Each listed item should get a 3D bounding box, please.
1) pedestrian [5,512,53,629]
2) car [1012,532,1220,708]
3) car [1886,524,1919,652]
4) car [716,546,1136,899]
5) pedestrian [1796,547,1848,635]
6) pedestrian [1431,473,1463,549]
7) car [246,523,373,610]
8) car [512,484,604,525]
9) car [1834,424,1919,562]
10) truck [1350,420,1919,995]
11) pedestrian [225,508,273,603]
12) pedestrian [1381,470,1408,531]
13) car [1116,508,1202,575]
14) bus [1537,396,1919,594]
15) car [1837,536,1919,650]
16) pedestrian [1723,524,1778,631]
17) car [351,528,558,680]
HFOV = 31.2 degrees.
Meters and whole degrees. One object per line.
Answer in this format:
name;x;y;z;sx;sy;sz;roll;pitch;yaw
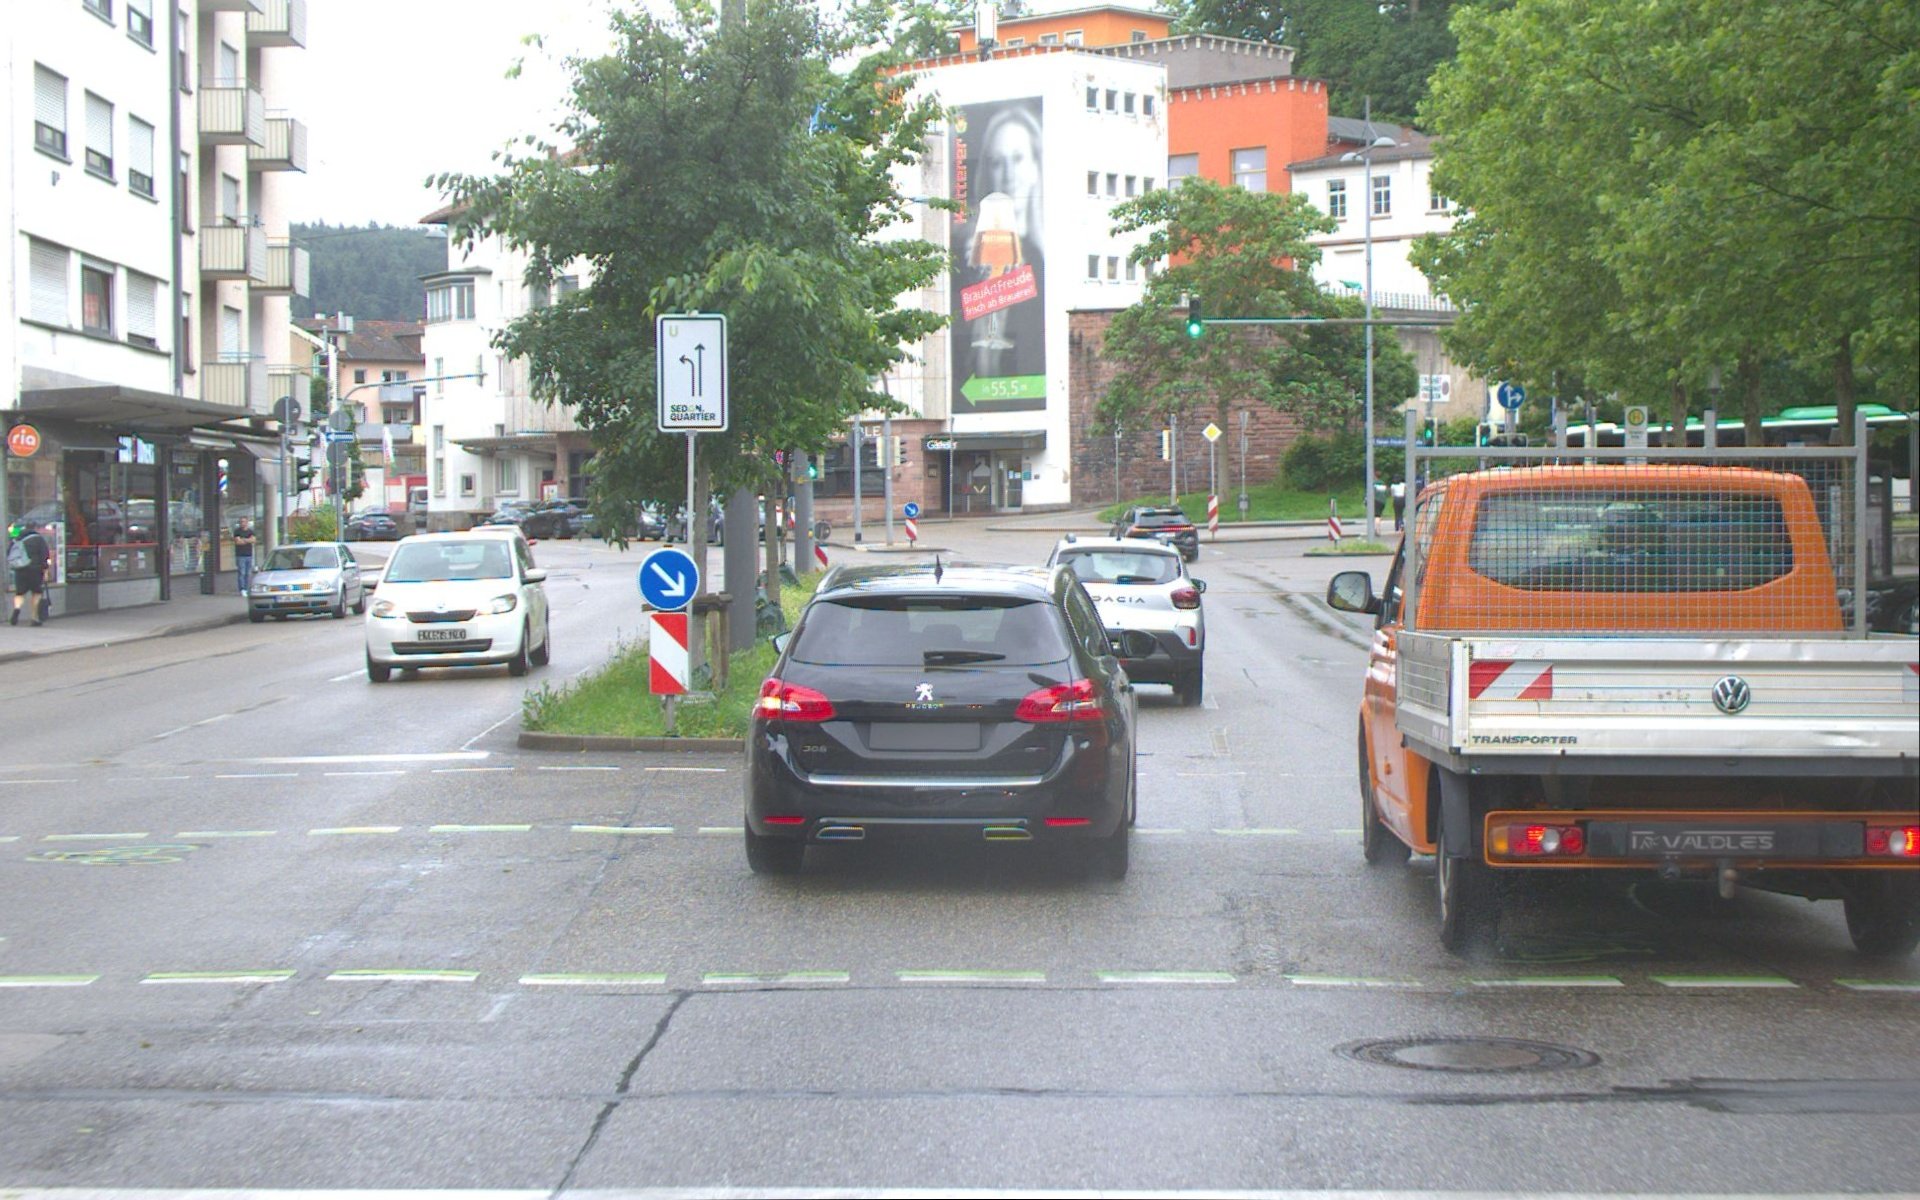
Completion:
pedestrian;-15.034;-0.480;55.498;0.639;1.854;0.524;1;2;-3
car;1.398;0.138;31.756;1.795;1.478;4.000;0;2;1
car;14.448;-0.087;45.168;3.987;1.644;1.917;3;2;2
car;-0.104;0.503;16.983;1.795;1.478;4.000;2;1;1
pedestrian;13.510;-0.141;53.897;0.621;1.353;0.726;1;1;1
pedestrian;12.957;-2.382;91.466;0.718;1.986;0.563;-1;3;-2
car;-12.050;-0.645;63.865;1.777;1.520;3.662;0;2;-2
car;-15.262;-3.624;130.360;1.596;1.505;3.598;0;2;-43
car;20.882;-2.336;75.770;2.072;2.960;4.228;1;1;0
truck;2.833;0.312;14.430;2.122;2.018;4.715;0;2;3
pedestrian;-15.426;-0.963;74.565;0.726;2.007;0.657;3;-1;-34
pedestrian;12.102;-2.768;95.671;0.639;1.658;0.563;-1;3;-2
car;5.072;-1.468;87.904;1.644;1.559;3.600;3;-1;-5
bus;25.015;-2.815;93.879;17.919;5.193;3.099;1;1;2
car;14.419;-0.044;47.739;3.987;1.504;1.743;3;2;2
pedestrian;12.680;-0.369;55.158;0.724;1.694;0.623;1;1;1
car;-5.242;0.003;36.042;1.654;1.445;3.544;-2;2;-1
